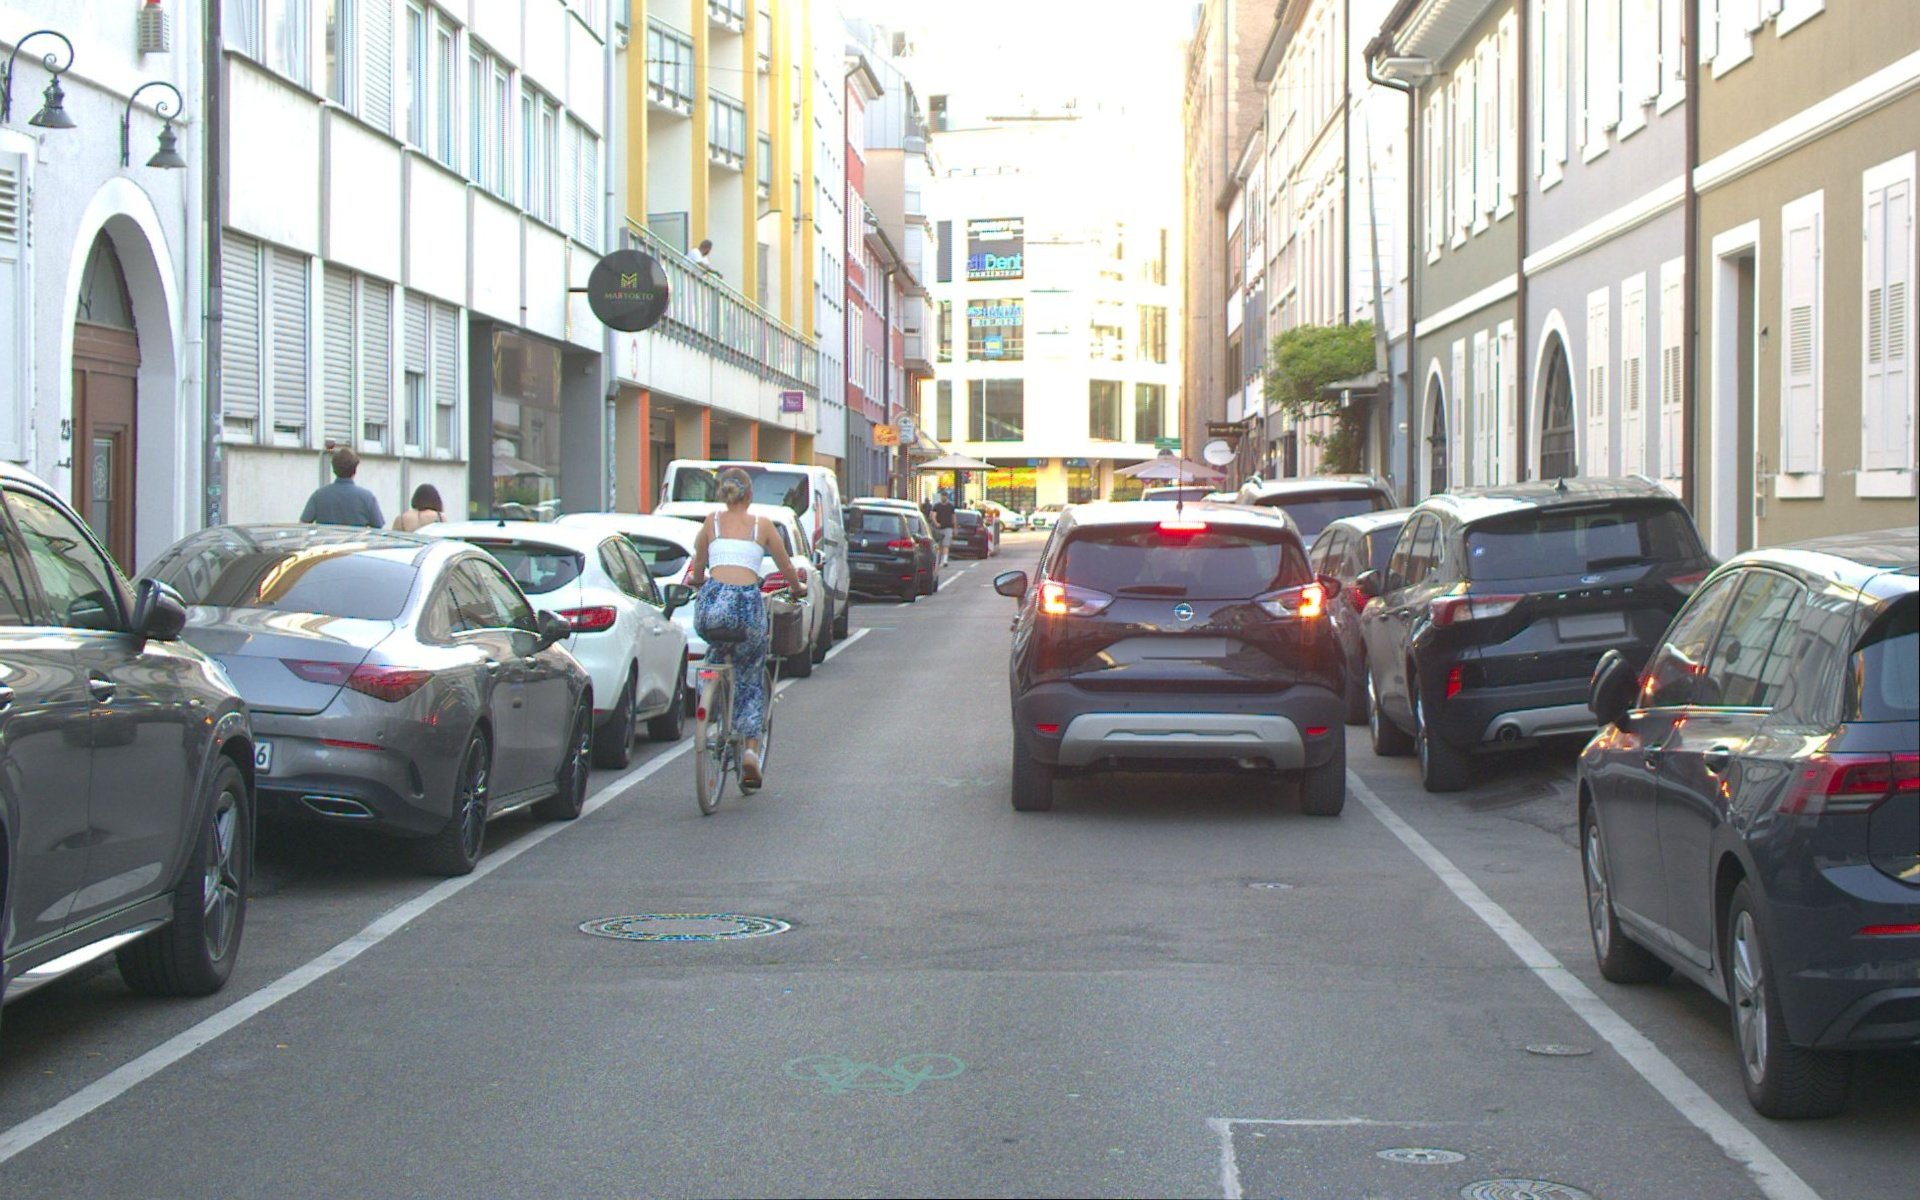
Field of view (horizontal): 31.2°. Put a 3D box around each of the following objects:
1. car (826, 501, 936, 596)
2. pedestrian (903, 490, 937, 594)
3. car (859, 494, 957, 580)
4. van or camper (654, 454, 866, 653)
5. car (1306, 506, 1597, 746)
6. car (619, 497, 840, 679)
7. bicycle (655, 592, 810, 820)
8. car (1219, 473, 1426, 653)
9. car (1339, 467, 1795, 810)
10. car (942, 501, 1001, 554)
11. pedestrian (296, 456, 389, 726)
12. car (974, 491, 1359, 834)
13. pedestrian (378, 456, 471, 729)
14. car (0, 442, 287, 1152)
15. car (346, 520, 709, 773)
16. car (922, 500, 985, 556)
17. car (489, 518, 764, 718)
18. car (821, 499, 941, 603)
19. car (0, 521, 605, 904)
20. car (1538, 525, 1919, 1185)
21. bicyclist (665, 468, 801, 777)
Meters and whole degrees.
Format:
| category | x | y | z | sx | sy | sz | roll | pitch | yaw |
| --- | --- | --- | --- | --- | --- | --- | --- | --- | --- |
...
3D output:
| category | x | y | z | sx | sy | sz | roll | pitch | yaw |
| --- | --- | --- | --- | --- | --- | --- | --- | --- | --- |
| car | -1.345 | -0.921 | 59.757 | 1.653 | 1.555 | 3.605 | 2 | 2 | 2 |
| pedestrian | -0.678 | -0.986 | 58.371 | 0.554 | 1.746 | 0.568 | 1 | 1 | -1 |
| car | -0.966 | -1.211 | 65.433 | 1.653 | 1.555 | 3.605 | 2 | 2 | 2 |
| van or camper | -2.125 | -0.541 | 37.786 | 1.844 | 2.006 | 4.678 | 2 | 2 | 2 |
| car | 3.450 | 0.122 | 24.663 | 1.653 | 1.555 | 3.605 | 2 | 2 | 2 |
| car | -2.087 | -0.156 | 31.941 | 1.653 | 1.555 | 3.605 | 2 | 2 | 2 |
| bicycle | -1.167 | 0.525 | 17.933 | 0.613 | 1.078 | 1.809 | 1 | 1 | 2 |
| car | 3.345 | -0.379 | 32.253 | 1.653 | 1.555 | 3.605 | 2 | 2 | 2 |
| car | 3.375 | 0.141 | 19.908 | 1.918 | 1.732 | 4.153 | 1 | 2 | 1 |
| car | 0.372 | -2.265 | 106.547 | 1.653 | 1.555 | 3.605 | 2 | 2 | 2 |
| pedestrian | -4.639 | -0.074 | 25.843 | 0.610 | 2.007 | 0.450 | 1 | 1 | -1 |
| car | 1.050 | 0.247 | 18.645 | 1.819 | 1.612 | 4.000 | 1 | 2 | 1 |
| pedestrian | -3.981 | -0.060 | 25.579 | 0.610 | 2.007 | 0.450 | 1 | 1 | -1 |
| car | -3.274 | 0.423 | 9.189 | 1.998 | 1.701 | 4.536 | 1 | 2 | 0 |
| car | -2.655 | 0.223 | 21.891 | 1.653 | 1.406 | 3.902 | 2 | 2 | 2 |
| car | -0.164 | -2.095 | 99.795 | 1.653 | 1.555 | 3.605 | 2 | 2 | 2 |
| car | -2.545 | 0.088 | 26.980 | 1.653 | 1.406 | 3.605 | 2 | 2 | 2 |
| car | -1.220 | -0.799 | 54.443 | 1.653 | 1.555 | 3.605 | 2 | 2 | 2 |
| car | -2.815 | 0.393 | 15.615 | 1.918 | 1.429 | 4.294 | 1 | 2 | 0 |
| car | 2.783 | 0.558 | 9.831 | 1.676 | 1.481 | 4.000 | 2 | 2 | 2 |
| bicyclist | -1.175 | 0.104 | 17.862 | 0.621 | 1.569 | 0.683 | 1 | 1 | 3 |
